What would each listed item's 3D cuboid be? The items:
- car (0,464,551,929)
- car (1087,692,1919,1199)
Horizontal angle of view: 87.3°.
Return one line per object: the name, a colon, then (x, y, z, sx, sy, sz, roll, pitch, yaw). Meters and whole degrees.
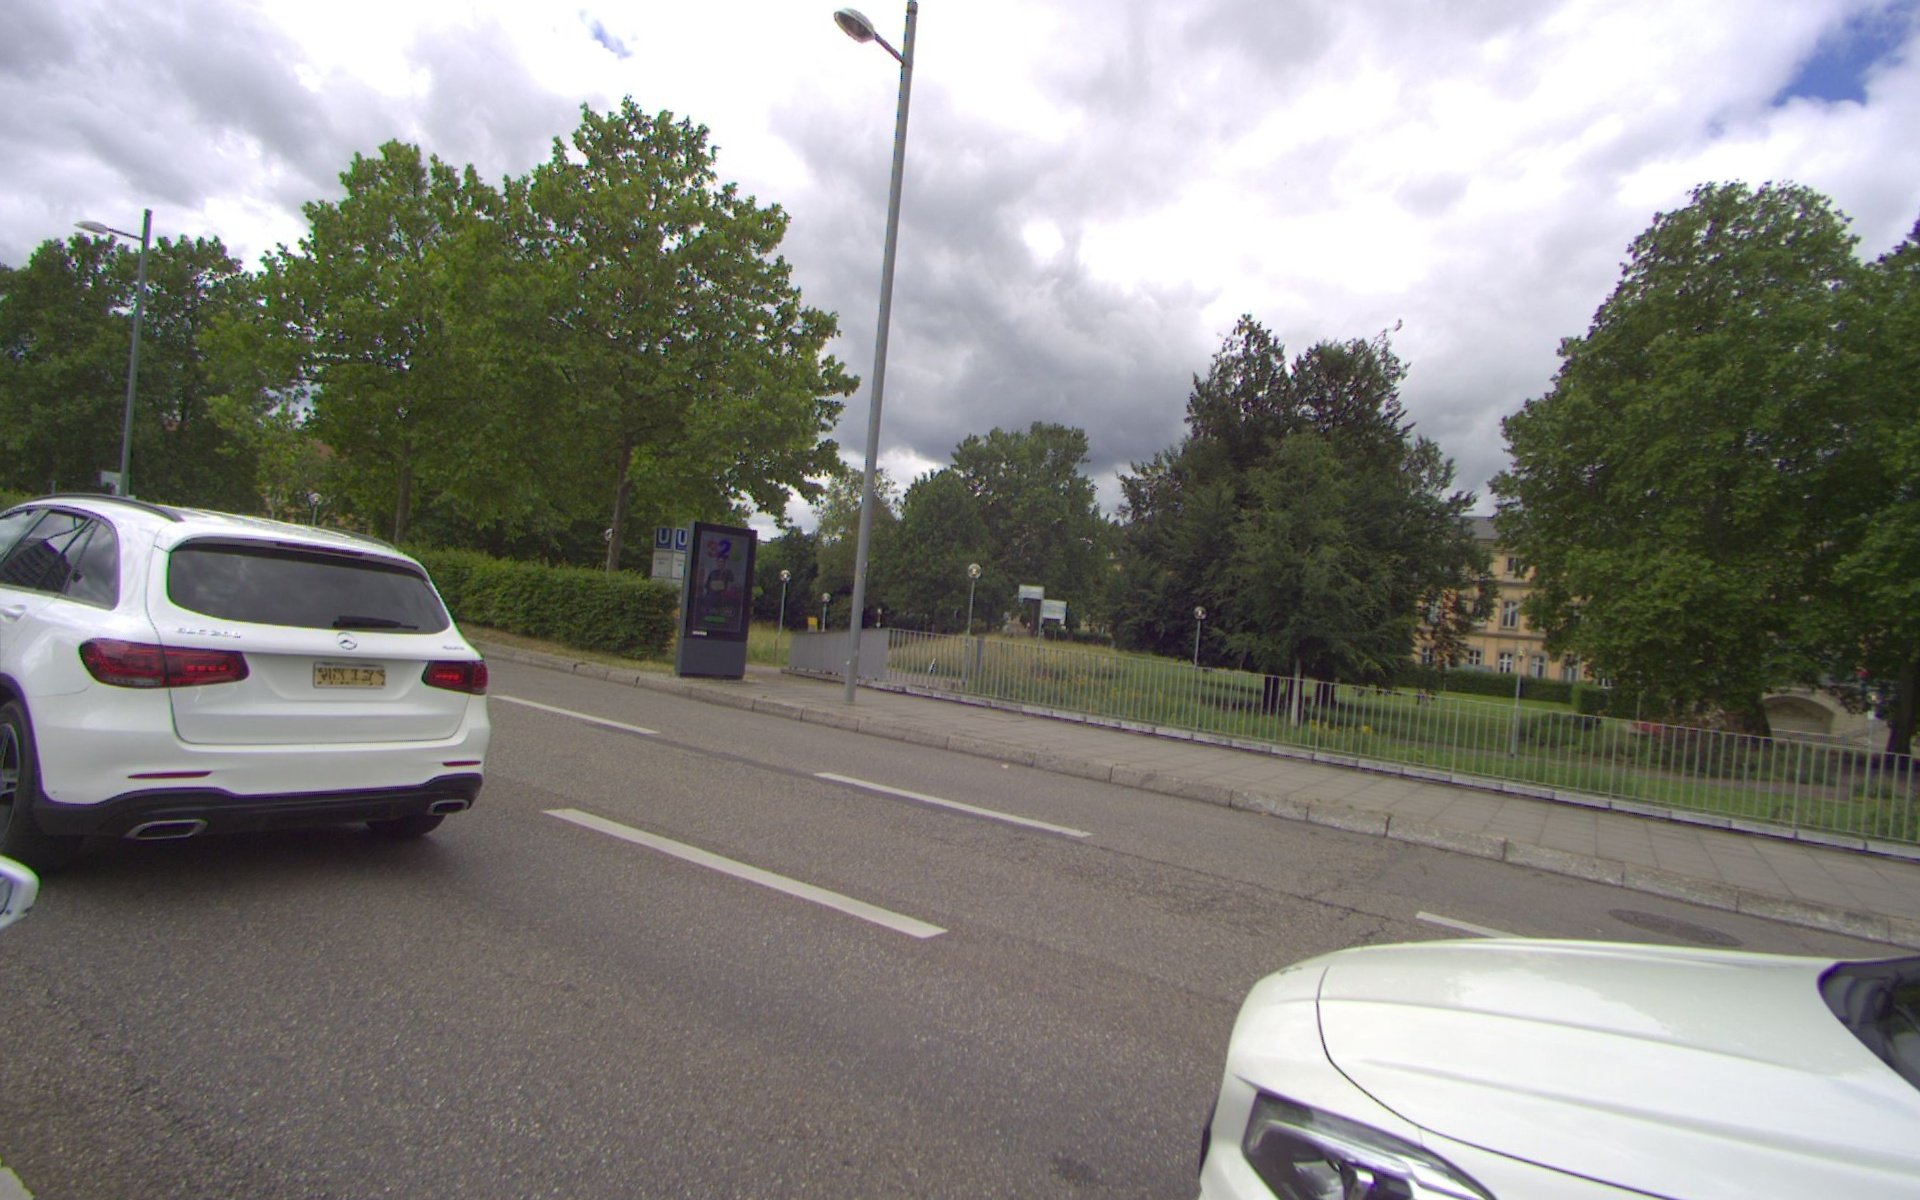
car: (-4.474, 0.249, 5.585, 4.308, 1.666, 1.821, 6, -1, 33)
car: (2.556, 1.145, 1.347, 4.432, 1.440, 1.722, 6, -2, 32)
